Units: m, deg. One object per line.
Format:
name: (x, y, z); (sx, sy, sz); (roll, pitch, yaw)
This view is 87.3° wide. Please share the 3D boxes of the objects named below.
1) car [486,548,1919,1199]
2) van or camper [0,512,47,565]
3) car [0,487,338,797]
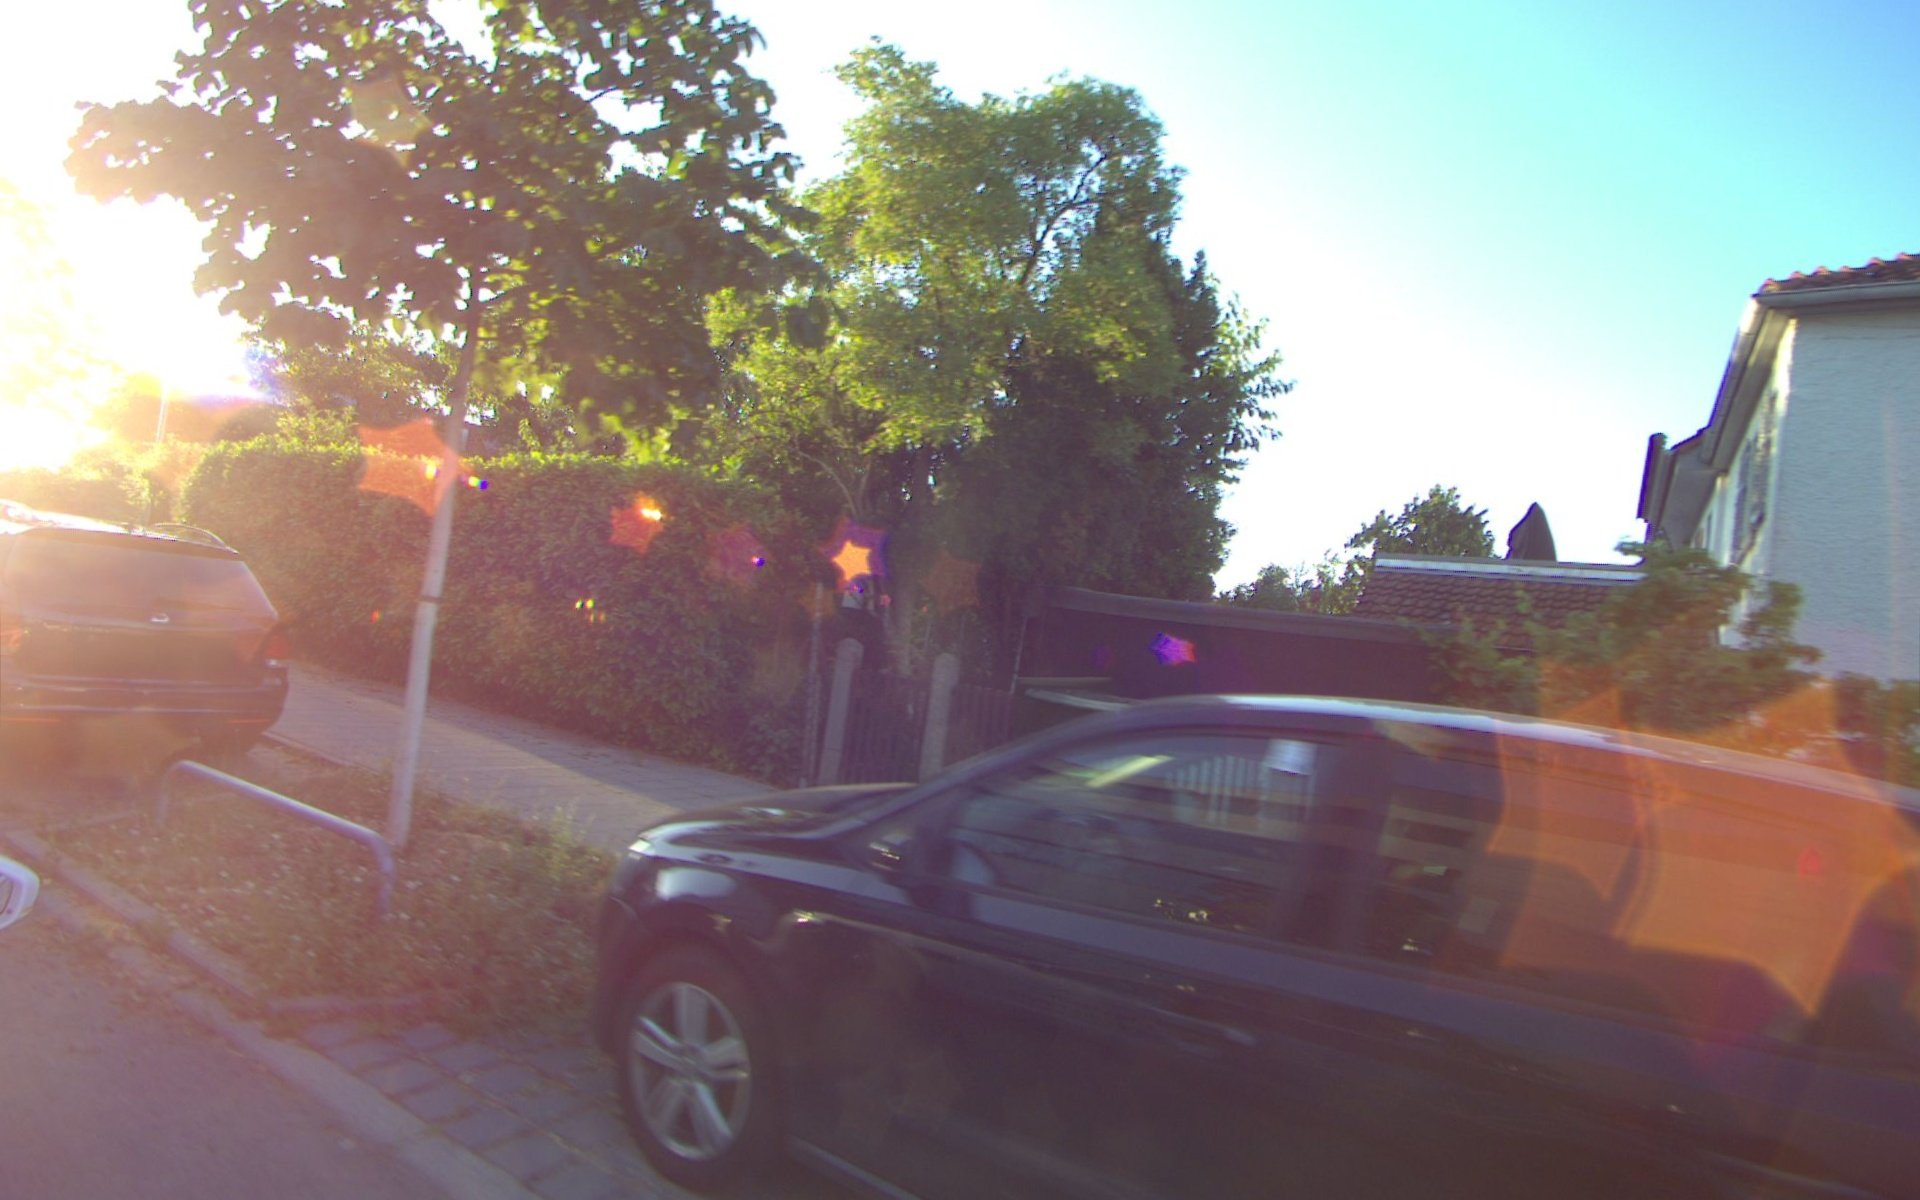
car: (0.671, 0.880, 2.688); (3.581, 1.569, 1.743); (6, -3, 33)
van or camper: (-57.523, -3.894, 58.921); (2.397, 2.823, 5.601); (6, -2, 43)
car: (-6.324, 0.113, 6.922); (4.477, 1.567, 1.713); (6, -3, 35)
